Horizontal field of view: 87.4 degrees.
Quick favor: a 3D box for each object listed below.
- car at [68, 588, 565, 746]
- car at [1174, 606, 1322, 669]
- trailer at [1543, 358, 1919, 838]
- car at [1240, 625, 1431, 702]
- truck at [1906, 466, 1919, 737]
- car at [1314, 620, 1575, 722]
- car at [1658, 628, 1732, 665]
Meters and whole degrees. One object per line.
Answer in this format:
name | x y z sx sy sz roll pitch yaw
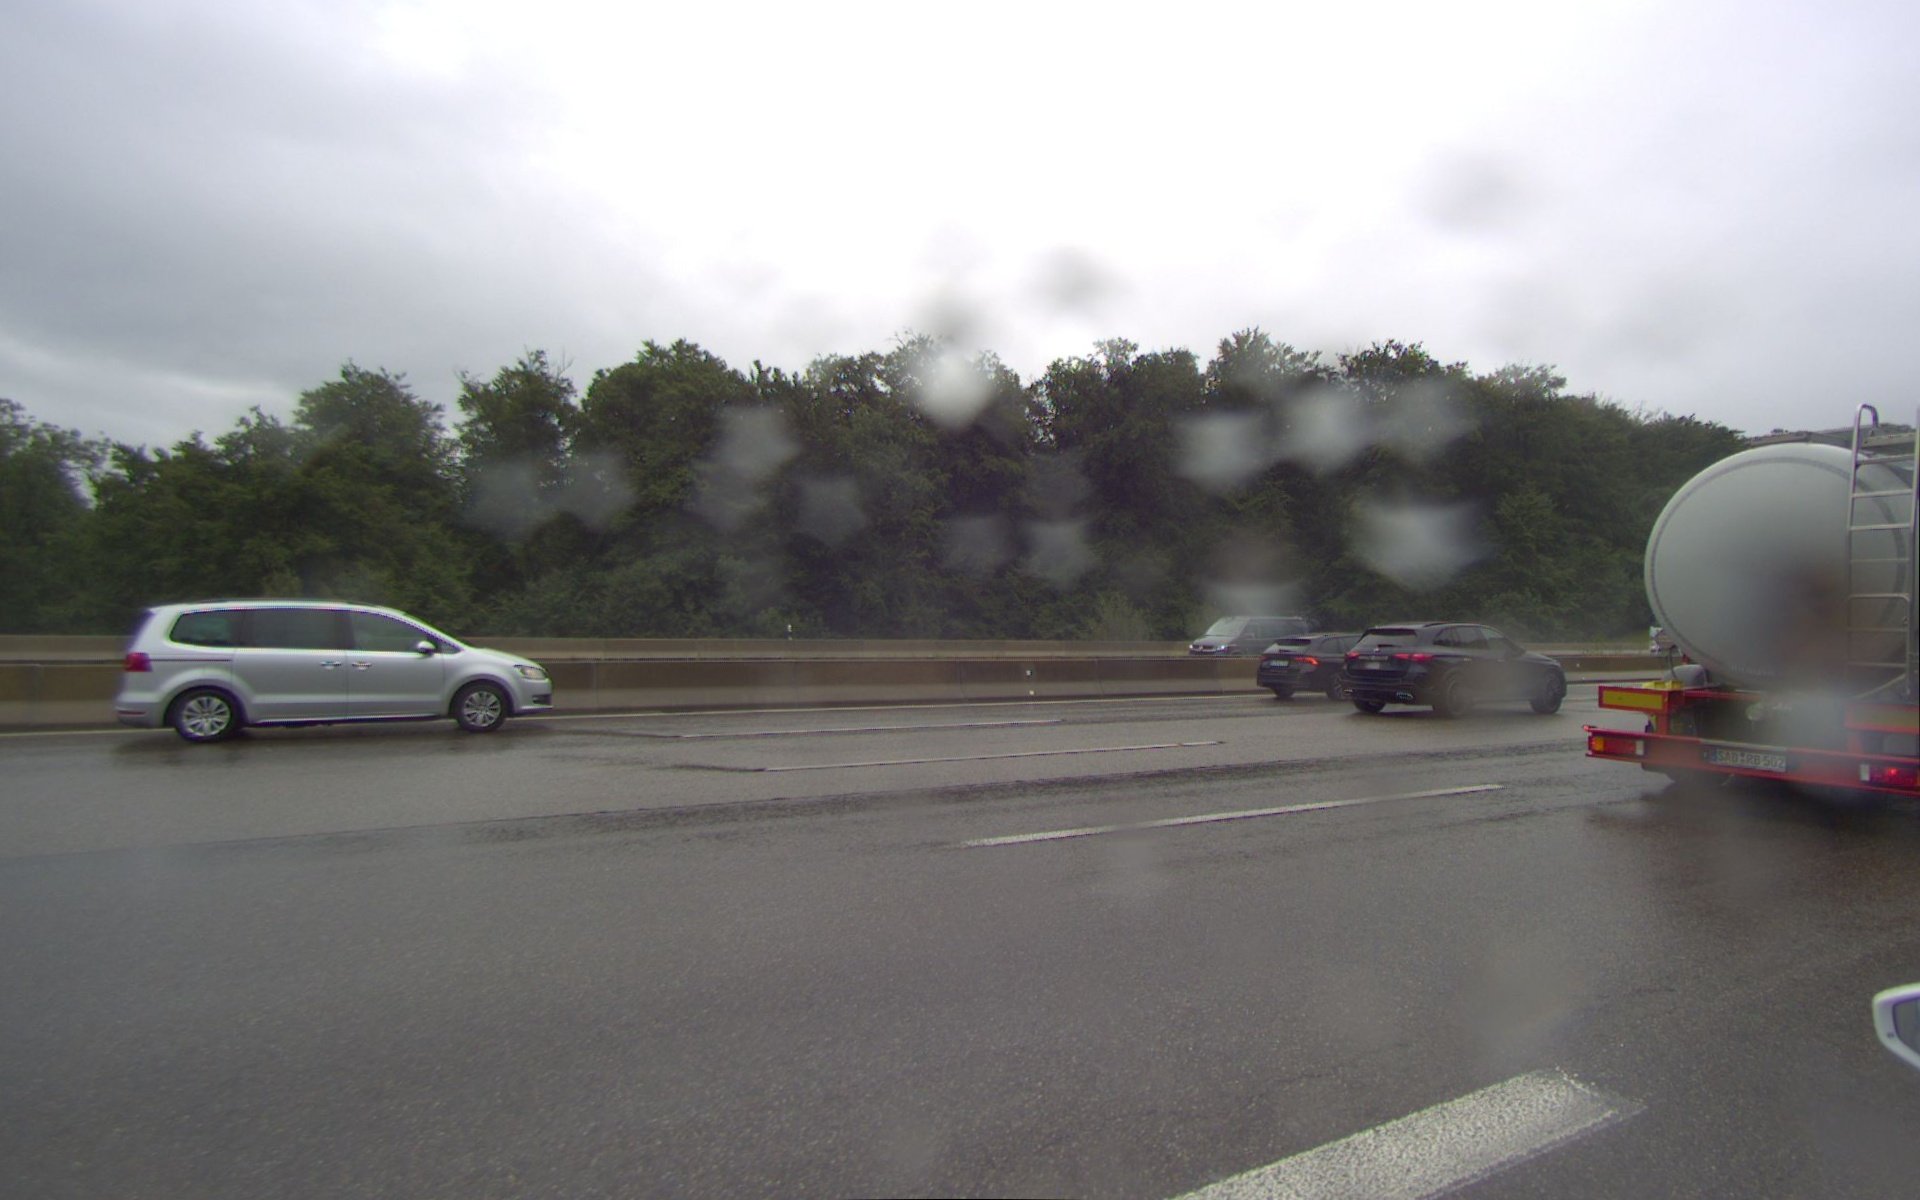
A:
car | -7.936 0.802 12.999 5.022 1.706 1.984 2 -2 -30
car | 10.441 1.360 36.352 5.187 1.903 2.041 4 1 -30
trailer | 10.336 0.110 10.561 9.962 3.332 2.859 2 -1 -31
car | 8.274 1.344 22.114 3.953 1.528 1.874 2 -1 -30
truck | 16.052 0.071 14.041 4.998 3.742 2.863 2 -1 -31
car | 8.843 1.218 18.240 4.752 1.615 1.984 2 -1 -31
car | 40.788 2.569 55.717 3.954 1.951 1.946 2 -1 -31
